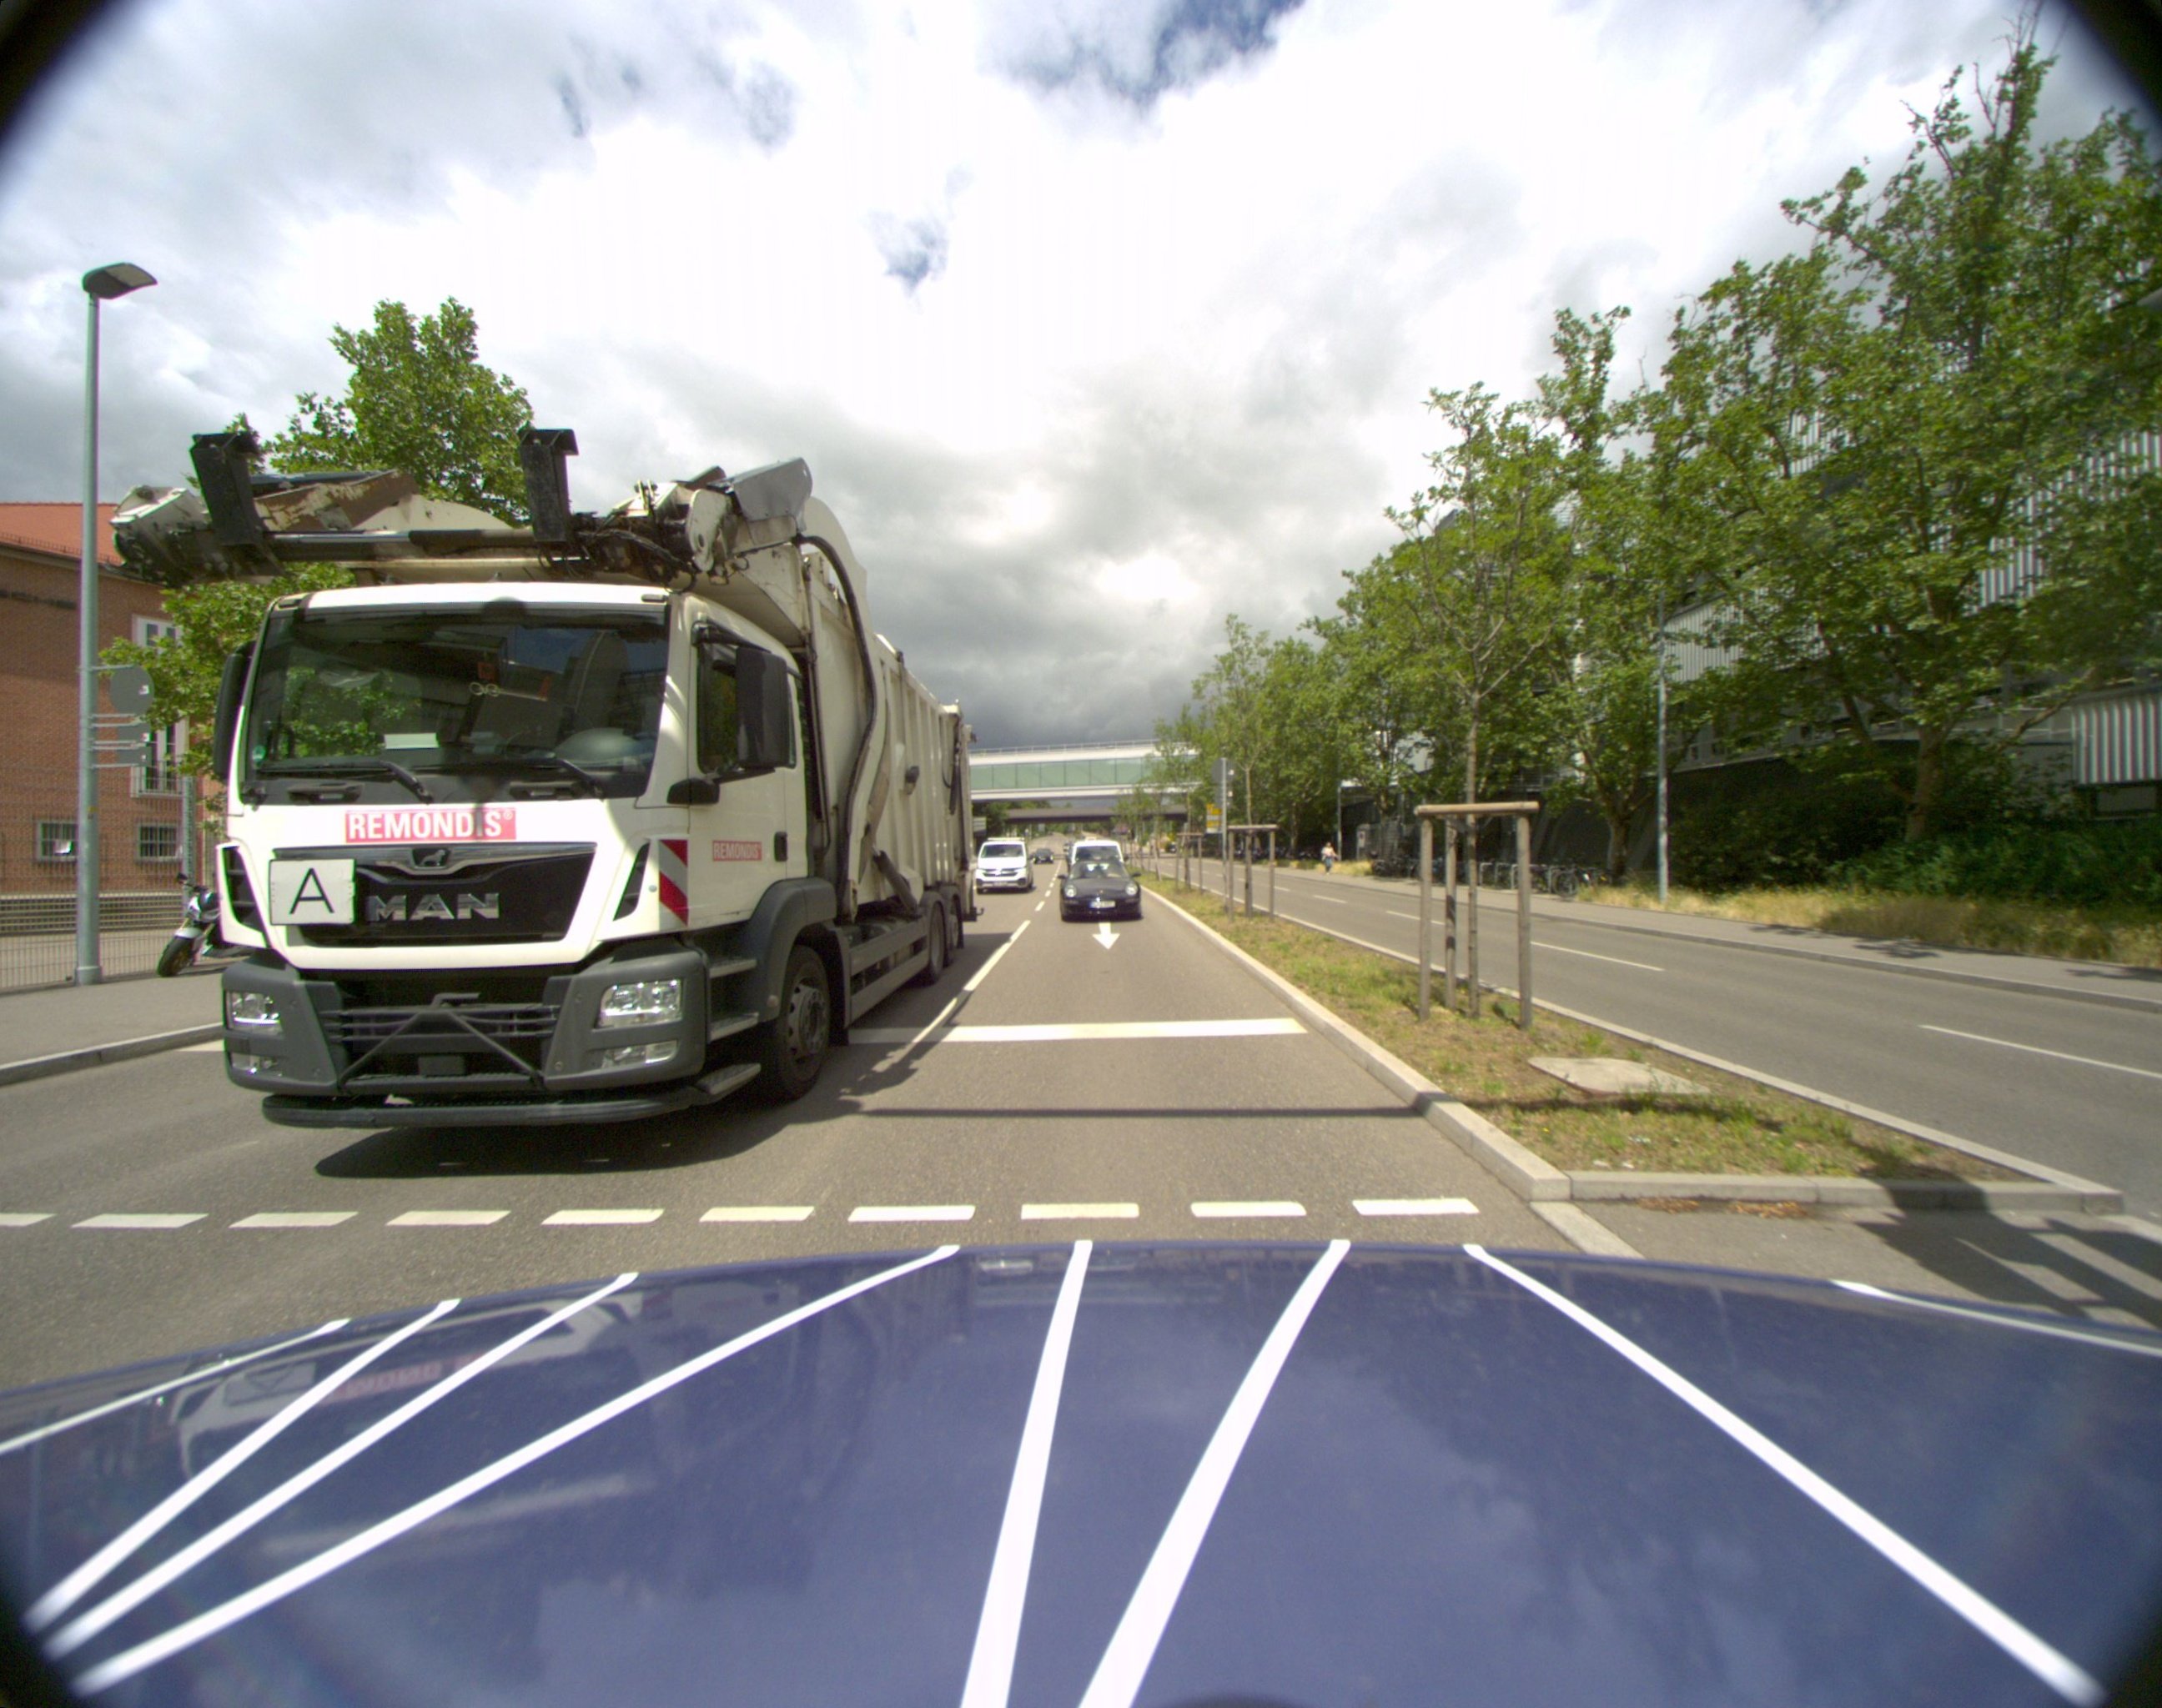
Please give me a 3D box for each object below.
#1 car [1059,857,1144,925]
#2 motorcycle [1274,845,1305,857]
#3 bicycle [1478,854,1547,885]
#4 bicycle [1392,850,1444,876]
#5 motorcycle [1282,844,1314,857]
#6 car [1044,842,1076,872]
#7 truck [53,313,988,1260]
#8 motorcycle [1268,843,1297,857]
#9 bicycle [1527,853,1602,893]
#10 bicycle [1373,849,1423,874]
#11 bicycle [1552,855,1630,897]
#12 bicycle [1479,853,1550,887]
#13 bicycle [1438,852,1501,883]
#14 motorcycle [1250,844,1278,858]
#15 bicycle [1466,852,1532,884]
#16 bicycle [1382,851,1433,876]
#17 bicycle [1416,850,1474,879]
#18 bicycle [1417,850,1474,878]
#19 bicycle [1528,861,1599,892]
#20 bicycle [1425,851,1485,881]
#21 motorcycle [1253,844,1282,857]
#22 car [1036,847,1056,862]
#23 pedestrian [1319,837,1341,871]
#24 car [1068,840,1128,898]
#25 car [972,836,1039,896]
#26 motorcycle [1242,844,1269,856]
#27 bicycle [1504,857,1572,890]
[{"bbox_3d":[0.445,0.765,17.416,1.710,1.281,3.805,-1,1,1],"label":"car"},{"bbox_3d":[15.570,-0.242,56.842,2.133,0.880,0.534,-1,1,1],"label":"motorcycle"},{"bbox_3d":[15.091,0.550,26.594,2.129,1.025,0.382,-1,1,3],"label":"bicycle"},{"bbox_3d":[14.880,0.395,33.574,2.129,1.104,0.382,-1,1,3],"label":"bicycle"},{"bbox_3d":[15.686,-0.235,54.918,2.133,0.893,0.534,-1,1,1],"label":"motorcycle"},{"bbox_3d":[-1.319,0.125,50.134,1.862,1.800,4.356,-3,1,1],"label":"car"},{"bbox_3d":[-2.939,-0.378,8.288,2.495,3.891,10.170,-2,2,0],"label":"truck"},{"bbox_3d":[15.488,-0.307,58.399,2.133,0.963,0.534,-1,1,1],"label":"motorcycle"},{"bbox_3d":[14.446,0.565,22.716,1.993,1.122,0.382,-1,1,-1],"label":"bicycle"},{"bbox_3d":[14.735,0.368,35.342,2.129,1.104,0.382,-1,1,3],"label":"bicycle"},{"bbox_3d":[14.475,0.608,21.578,1.993,1.122,0.382,-1,1,-1],"label":"bicycle"},{"bbox_3d":[14.661,0.551,25.699,2.129,1.090,0.382,-1,1,3],"label":"bicycle"},{"bbox_3d":[14.575,0.497,28.537,2.129,1.104,0.382,-1,1,3],"label":"bicycle"},{"bbox_3d":[14.831,-0.247,61.581,2.133,1.131,0.534,-1,1,1],"label":"motorcycle"},{"bbox_3d":[15.119,0.495,27.500,2.129,1.104,0.382,-1,1,3],"label":"bicycle"},{"bbox_3d":[14.810,0.424,34.507,2.129,1.104,0.382,-1,1,3],"label":"bicycle"},{"bbox_3d":[14.572,0.434,30.447,2.129,1.104,0.382,-1,1,3],"label":"bicycle"},{"bbox_3d":[15.129,0.404,31.564,2.129,1.104,0.382,-1,1,3],"label":"bicycle"},{"bbox_3d":[15.046,0.695,23.722,1.993,0.886,0.382,-1,1,-1],"label":"bicycle"},{"bbox_3d":[14.550,0.471,29.561,2.129,1.104,0.382,-1,1,3],"label":"bicycle"},{"bbox_3d":[14.840,-0.250,60.365,2.133,0.963,0.534,-1,1,1],"label":"motorcycle"},{"bbox_3d":[-3.398,0.020,74.706,1.862,1.370,4.356,-1,1,-1],"label":"car"},{"bbox_3d":[12.880,0.005,39.288,0.900,1.711,0.672,-1,2,0],"label":"pedestrian"},{"bbox_3d":[0.565,0.441,26.464,1.862,1.800,4.905,-1,1,1],"label":"car"},{"bbox_3d":[-2.782,0.386,29.110,1.925,2.082,4.656,-1,1,1],"label":"car"},{"bbox_3d":[14.532,-0.324,63.363,2.133,0.963,0.534,-1,1,1],"label":"motorcycle"},{"bbox_3d":[14.839,0.623,24.700,1.993,0.992,0.382,-1,1,-1],"label":"bicycle"}]
